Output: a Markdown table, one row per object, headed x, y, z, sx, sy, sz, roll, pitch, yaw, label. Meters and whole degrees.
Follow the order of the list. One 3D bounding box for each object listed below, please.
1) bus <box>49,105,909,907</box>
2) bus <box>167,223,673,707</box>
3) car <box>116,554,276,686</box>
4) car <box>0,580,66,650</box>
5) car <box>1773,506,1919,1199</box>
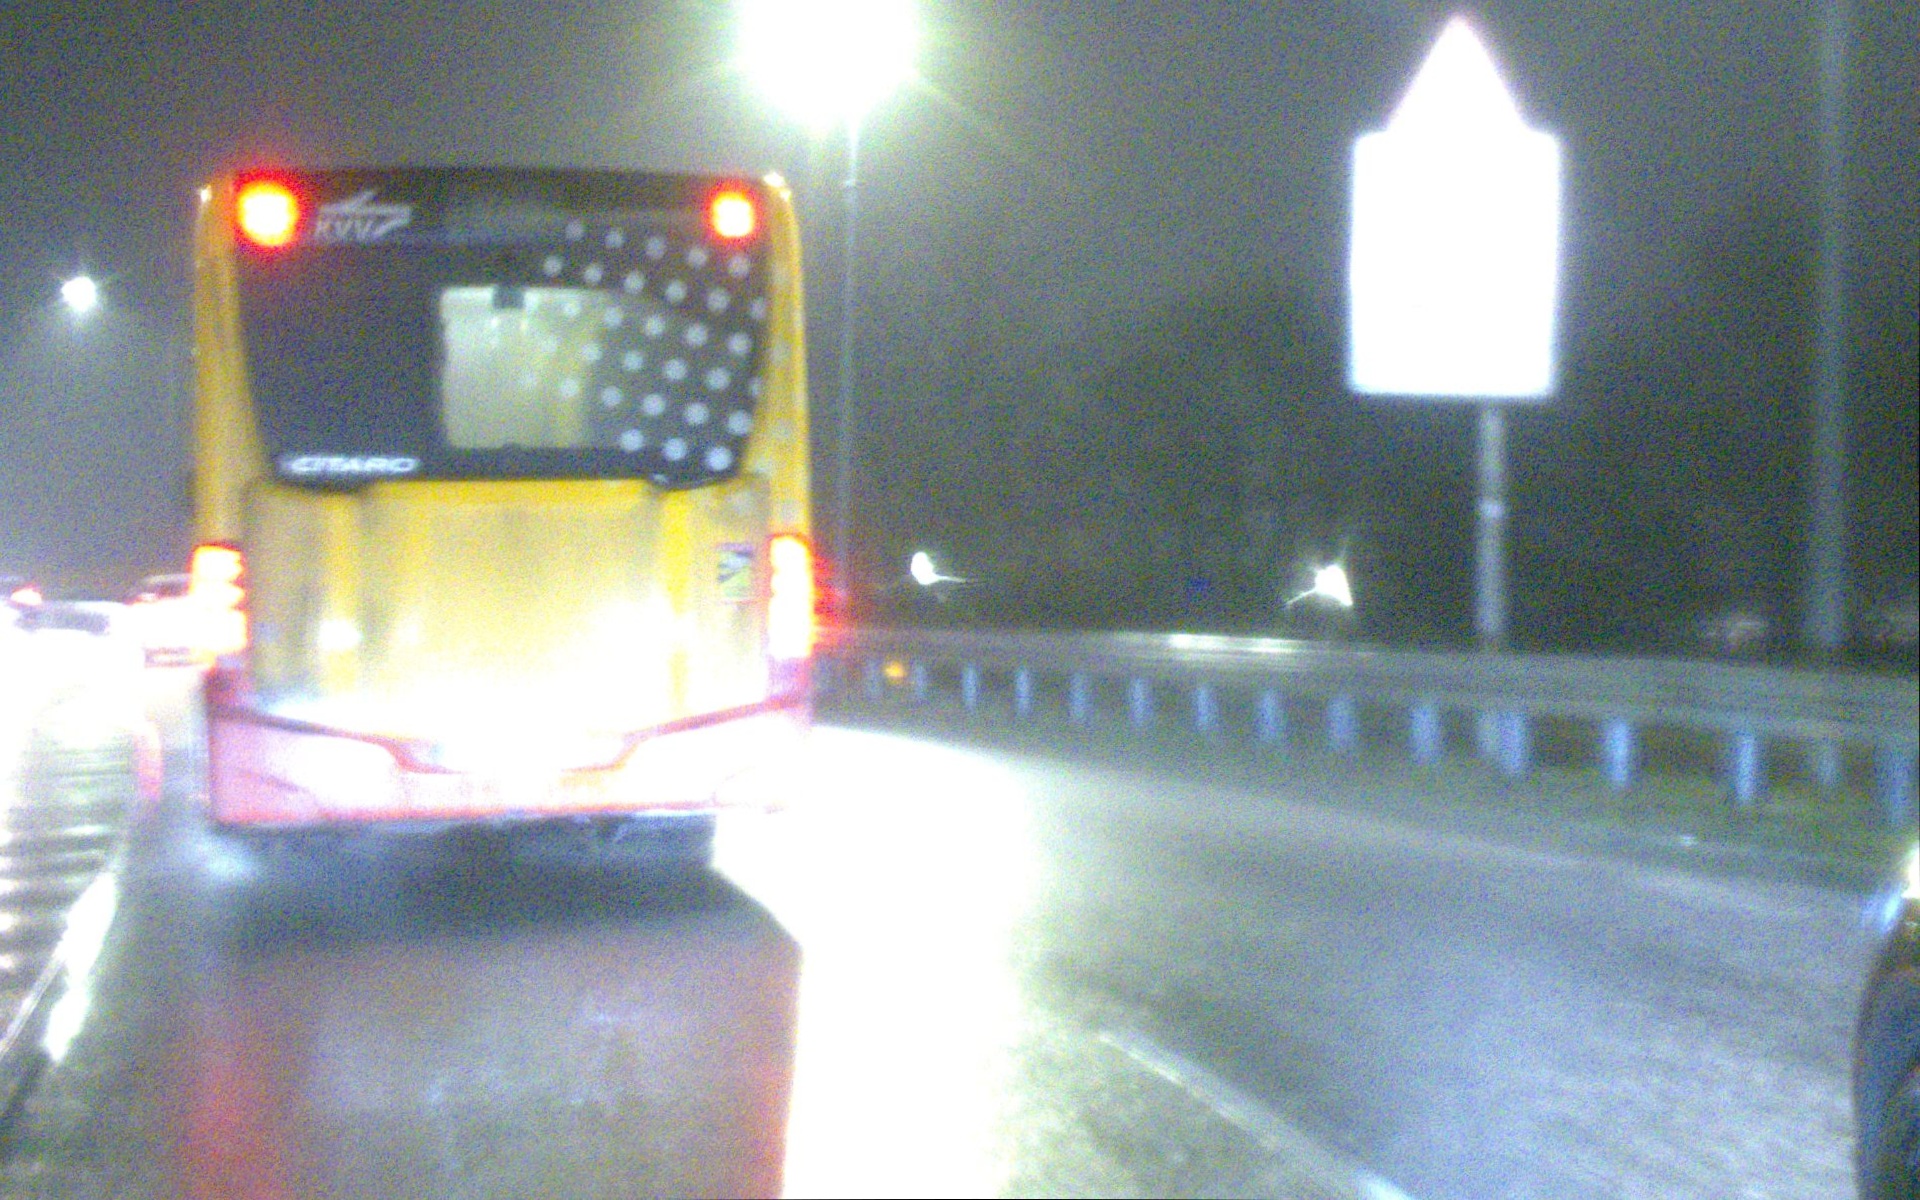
| x | y | z | sx | sy | sz | roll | pitch | yaw | label |
| --- | --- | --- | --- | --- | --- | --- | --- | --- | --- |
| -2.712 | -0.619 | 18.020 | 3.284 | 3.039 | 9.548 | 0 | 3 | -11 | bus |
| -4.465 | -0.982 | 27.074 | 3.246 | 3.110 | 8.648 | 1 | 1 | -12 | bus |
| -12.456 | 0.329 | 55.856 | 1.993 | 2.007 | 4.350 | 2 | -1 | -19 | car |
| -22.784 | 0.370 | 82.857 | 1.815 | 1.612 | 4.001 | 2 | -1 | -22 | car |
| 2.524 | 0.609 | 4.437 | 1.677 | 1.516 | 3.961 | 1 | -1 | -5 | car |
